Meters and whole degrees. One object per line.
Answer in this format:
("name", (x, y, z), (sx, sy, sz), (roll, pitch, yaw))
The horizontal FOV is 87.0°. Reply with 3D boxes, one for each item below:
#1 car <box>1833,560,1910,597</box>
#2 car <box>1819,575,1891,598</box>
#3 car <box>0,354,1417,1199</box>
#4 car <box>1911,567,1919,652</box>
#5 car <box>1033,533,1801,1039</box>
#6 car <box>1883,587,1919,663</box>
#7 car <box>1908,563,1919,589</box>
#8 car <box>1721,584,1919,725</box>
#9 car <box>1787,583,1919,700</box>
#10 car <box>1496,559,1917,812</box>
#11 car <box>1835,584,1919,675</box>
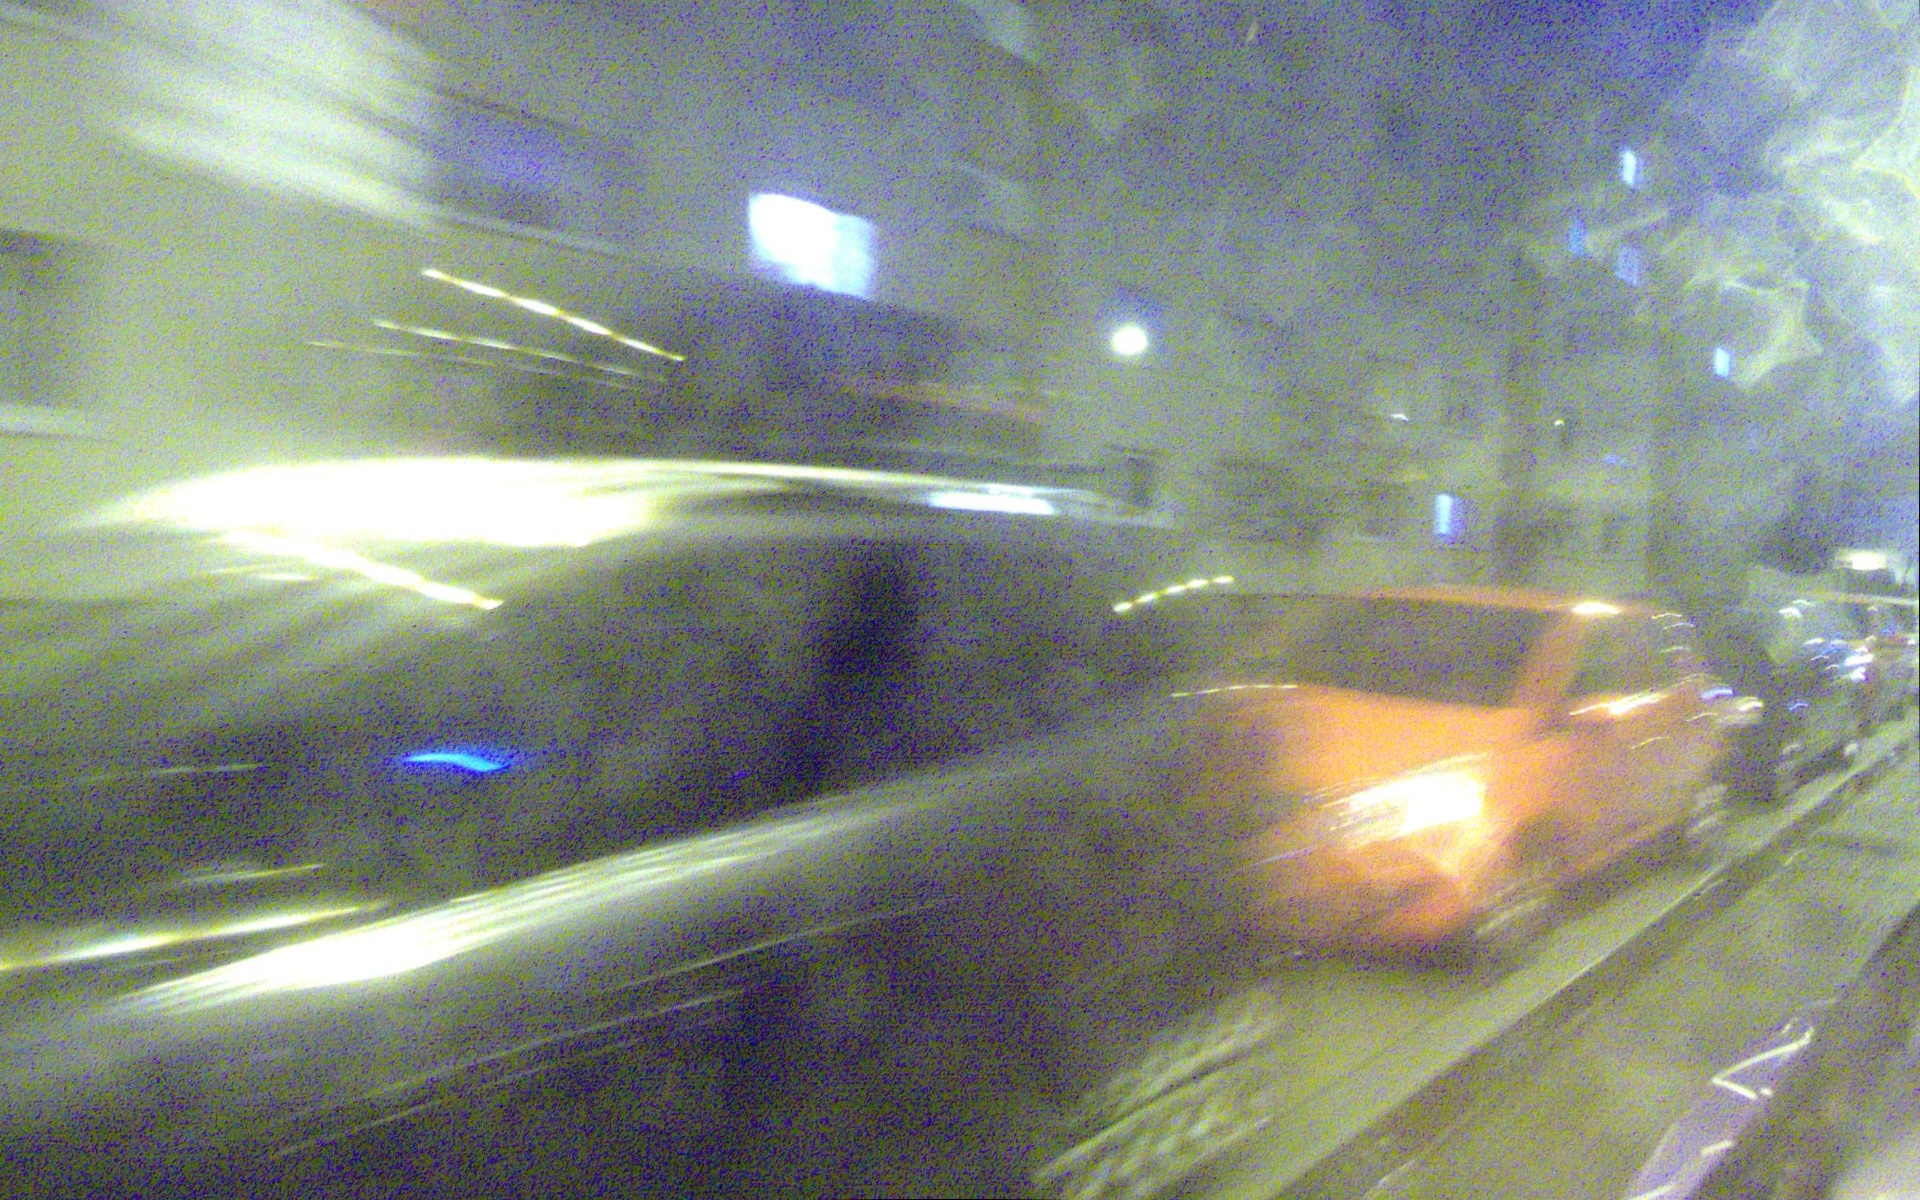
("car", (70.140, -1.677, 77.925), (1.767, 2.650, 4.031), (1, 3, -34))
("car", (64.617, -1.000, 73.130), (1.636, 1.474, 3.663), (0, 3, -40))
("car", (-1.221, 0.500, 1.793), (4.965, 1.549, 1.803), (0, 4, -42))
("car", (24.908, 0.267, 24.937), (5.757, 1.973, 1.797), (0, 4, -44))
("car", (2.586, 0.545, 5.224), (4.274, 1.566, 1.830), (0, 3, -39))
("car", (21.112, 0.531, 21.578), (4.060, 1.509, 1.797), (0, 4, -44))
("car", (84.971, -1.962, 87.445), (1.767, 2.195, 4.031), (1, 3, -34))
("car", (10.198, 0.532, 11.805), (3.567, 1.322, 1.458), (0, 4, -43))
("car", (14.136, 0.553, 15.479), (4.207, 1.505, 1.677), (0, 4, -43))
("car", (6.639, 0.526, 8.755), (4.889, 1.566, 1.759), (0, 3, -40))
("car", (17.573, 0.509, 18.561), (4.207, 1.464, 1.798), (0, 4, -43))
